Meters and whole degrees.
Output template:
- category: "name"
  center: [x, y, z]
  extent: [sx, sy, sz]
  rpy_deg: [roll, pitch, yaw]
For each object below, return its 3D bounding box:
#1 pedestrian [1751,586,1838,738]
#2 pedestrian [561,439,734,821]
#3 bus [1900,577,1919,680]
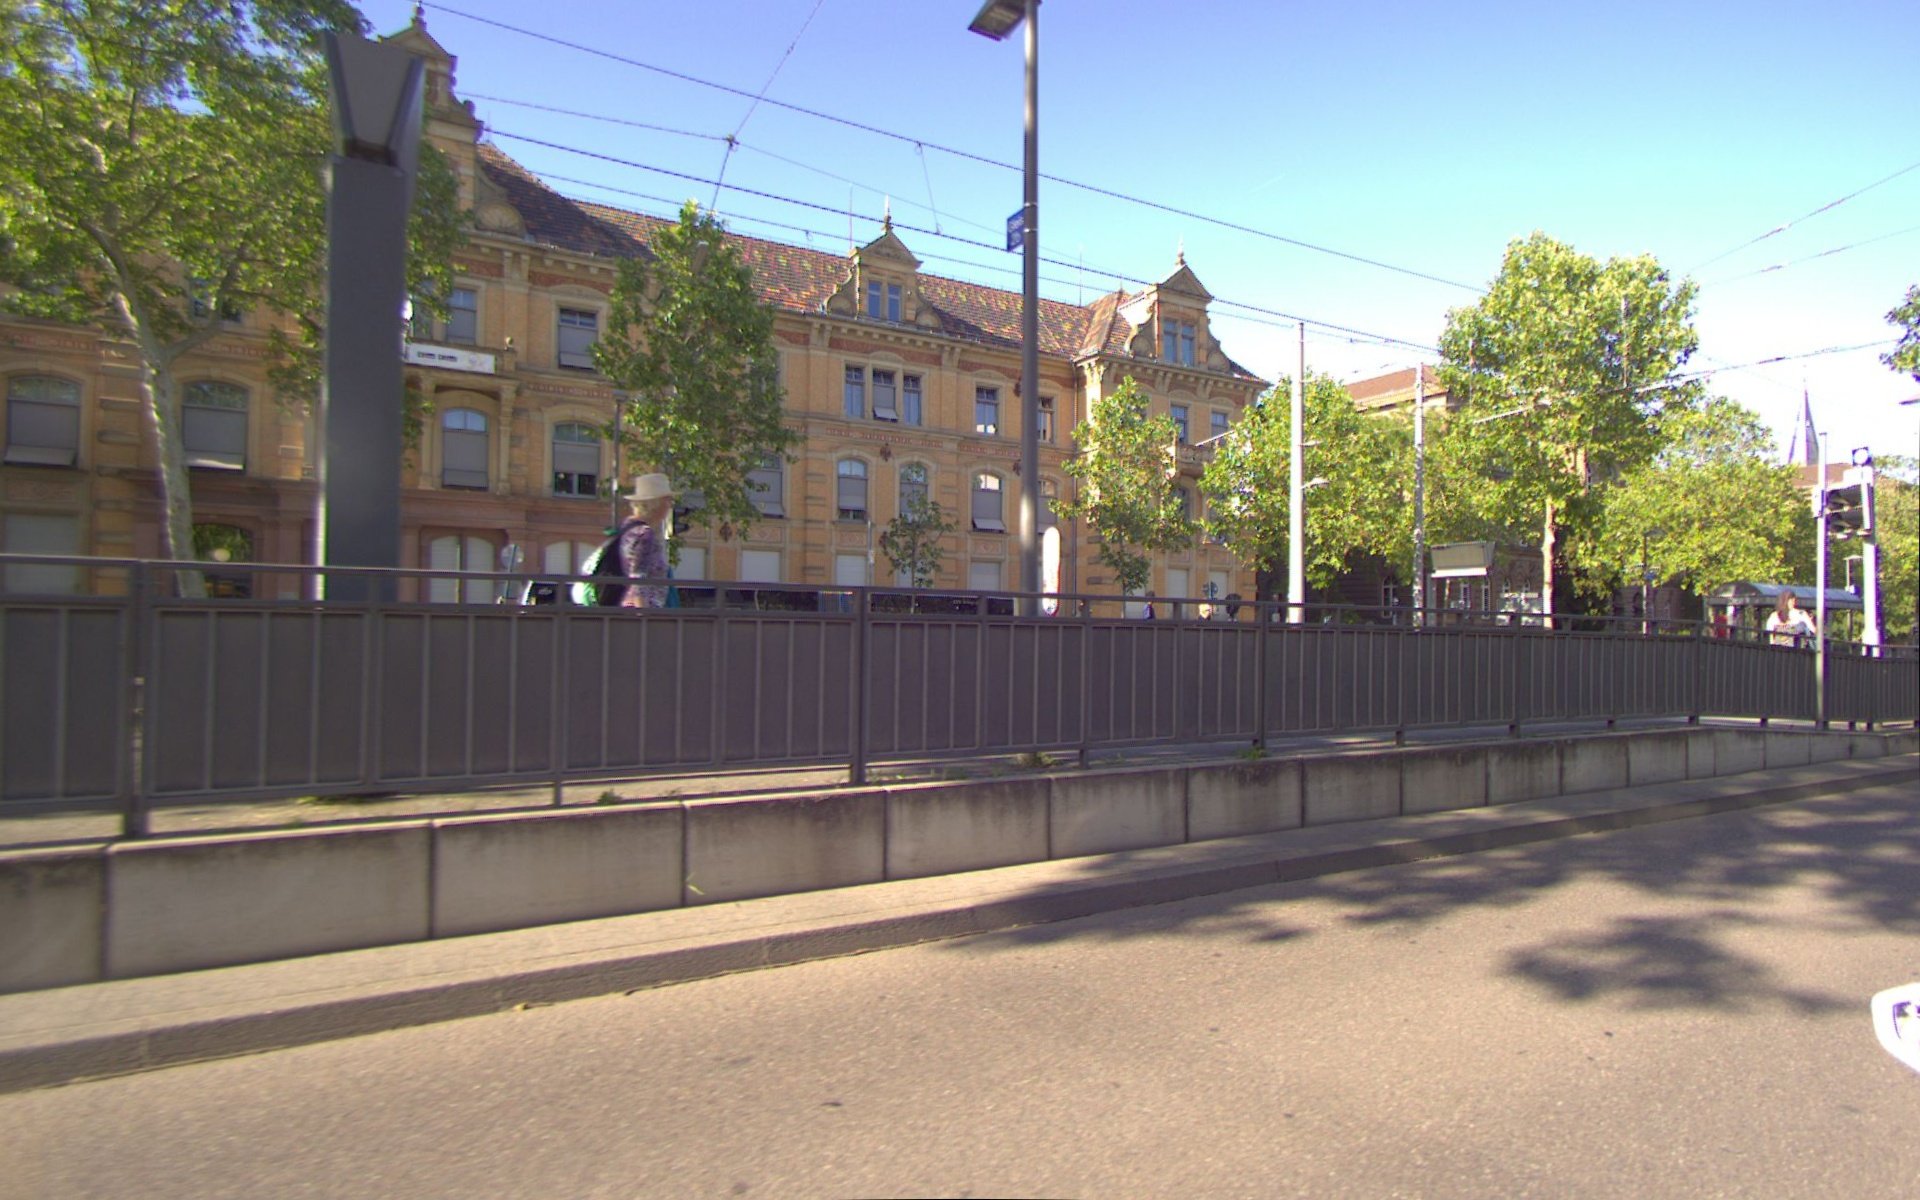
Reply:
- category: "pedestrian"
  center: [11.299, 0.811, 13.602]
  extent: [0.804, 1.980, 0.636]
  rpy_deg: [1, 1, -30]
- category: "pedestrian"
  center: [-1.776, 0.160, 5.682]
  extent: [0.804, 1.980, 0.636]
  rpy_deg: [1, 1, -30]
- category: "bus"
  center: [45.023, 1.195, 40.954]
  extent: [24.309, 3.676, 2.856]
  rpy_deg: [1, -1, -30]
